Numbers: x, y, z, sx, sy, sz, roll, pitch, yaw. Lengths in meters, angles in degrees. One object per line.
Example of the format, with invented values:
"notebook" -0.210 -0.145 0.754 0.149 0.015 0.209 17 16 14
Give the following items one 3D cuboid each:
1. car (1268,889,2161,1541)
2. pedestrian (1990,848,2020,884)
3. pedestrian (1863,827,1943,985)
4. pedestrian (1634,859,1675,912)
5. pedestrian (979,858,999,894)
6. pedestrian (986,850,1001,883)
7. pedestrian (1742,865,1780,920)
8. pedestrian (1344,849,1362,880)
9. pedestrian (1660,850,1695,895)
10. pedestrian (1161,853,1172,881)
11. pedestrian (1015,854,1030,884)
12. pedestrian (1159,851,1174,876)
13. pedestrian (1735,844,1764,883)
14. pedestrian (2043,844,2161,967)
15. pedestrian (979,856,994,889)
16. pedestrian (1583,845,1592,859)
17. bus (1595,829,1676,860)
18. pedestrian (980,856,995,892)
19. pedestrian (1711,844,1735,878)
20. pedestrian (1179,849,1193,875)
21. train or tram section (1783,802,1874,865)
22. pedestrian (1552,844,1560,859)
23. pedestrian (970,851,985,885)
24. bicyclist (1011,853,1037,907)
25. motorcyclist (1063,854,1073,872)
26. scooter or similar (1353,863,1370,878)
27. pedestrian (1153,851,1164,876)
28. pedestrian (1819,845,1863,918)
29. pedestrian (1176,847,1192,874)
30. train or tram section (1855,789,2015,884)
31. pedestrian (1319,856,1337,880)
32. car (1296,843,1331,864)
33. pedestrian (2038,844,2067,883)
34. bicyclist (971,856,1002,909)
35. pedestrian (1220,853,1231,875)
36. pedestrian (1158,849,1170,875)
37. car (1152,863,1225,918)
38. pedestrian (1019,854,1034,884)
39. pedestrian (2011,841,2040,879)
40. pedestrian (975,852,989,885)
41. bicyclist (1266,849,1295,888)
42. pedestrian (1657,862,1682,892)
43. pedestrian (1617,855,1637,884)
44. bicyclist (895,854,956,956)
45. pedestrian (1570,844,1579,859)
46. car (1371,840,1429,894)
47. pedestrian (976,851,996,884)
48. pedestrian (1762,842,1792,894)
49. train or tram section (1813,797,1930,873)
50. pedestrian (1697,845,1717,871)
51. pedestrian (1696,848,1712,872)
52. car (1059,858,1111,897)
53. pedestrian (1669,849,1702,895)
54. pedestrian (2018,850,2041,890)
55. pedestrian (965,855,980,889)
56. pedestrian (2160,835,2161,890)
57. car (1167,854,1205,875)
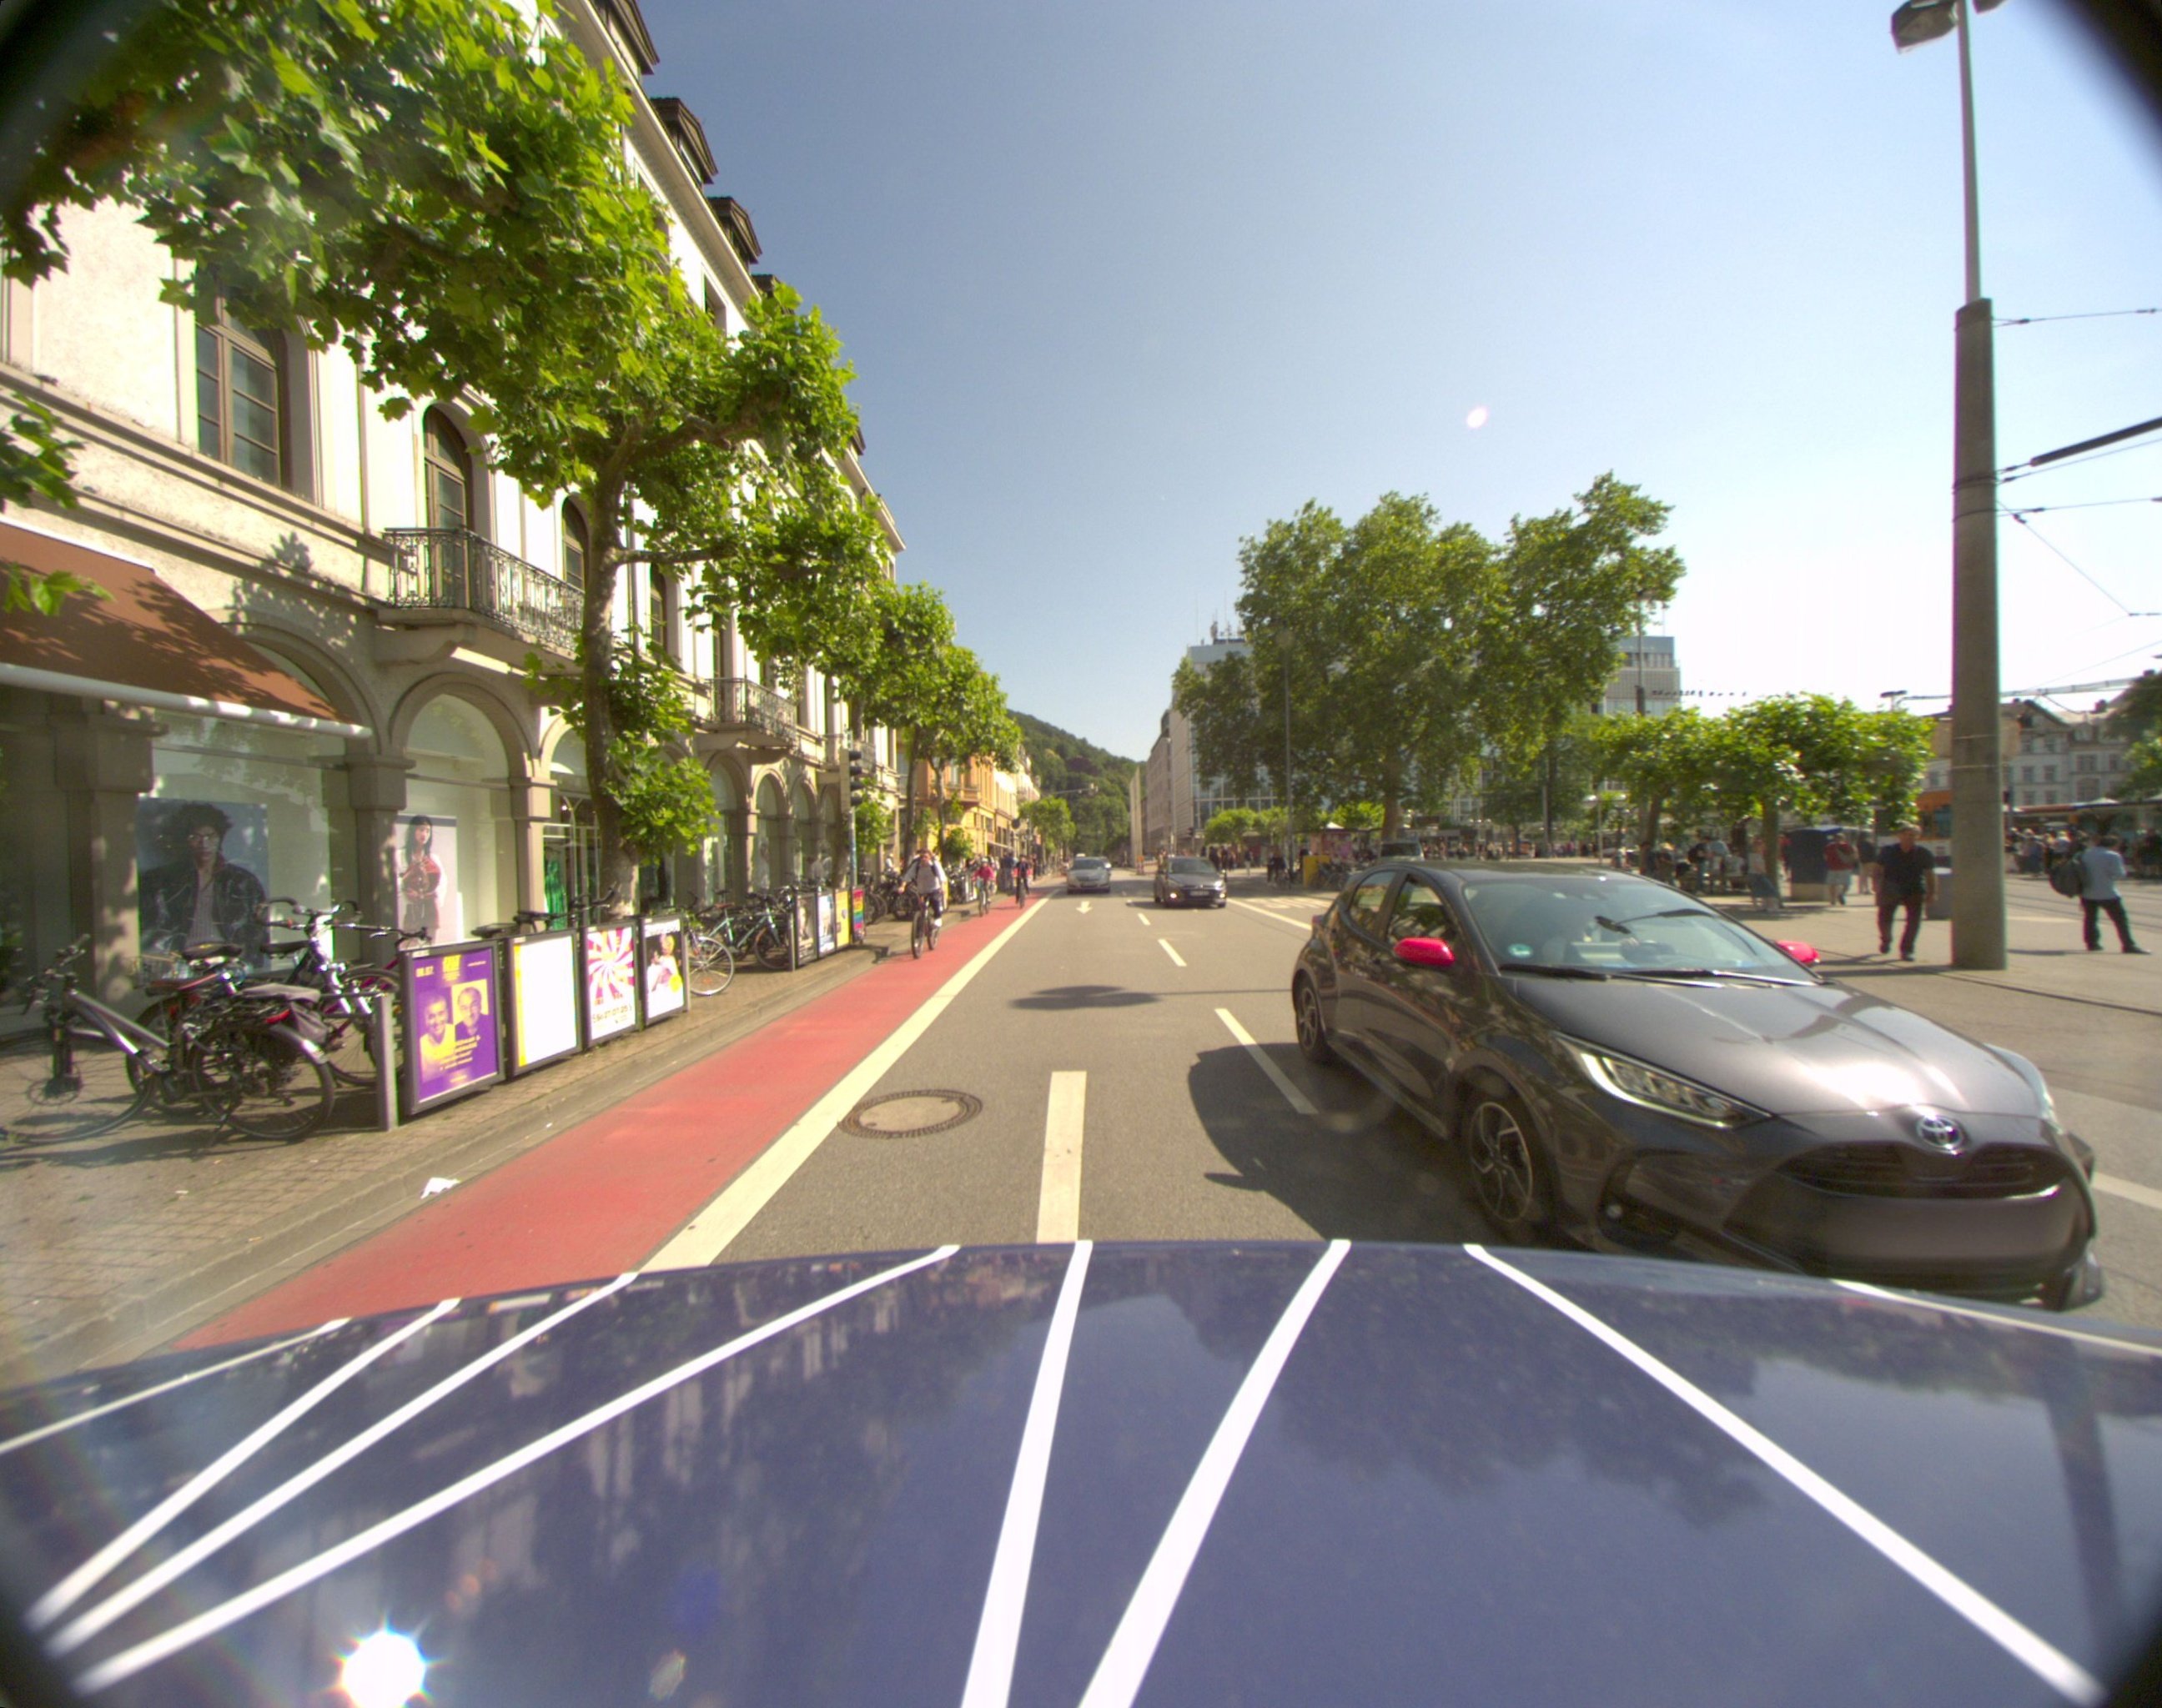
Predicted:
"car" 2.410 1.016 3.960 1.782 1.466 3.999 0 0 -2
"pedestrian" 39.418 0.507 32.409 0.577 1.540 0.682 1 0 27
"pedestrian" 10.987 0.662 10.168 0.897 1.996 0.678 1 0 -43
"pedestrian" 16.199 0.870 21.462 0.624 1.457 0.680 1 0 1
"pedestrian" -4.328 1.025 35.628 0.620 1.675 0.579 -2 1 34
"pedestrian" -4.994 0.703 43.373 0.686 1.847 0.622 -3 1 -3
"pedestrian" 15.556 0.874 17.401 0.577 1.226 0.555 0 1 35
"pedestrian" 13.136 0.521 36.651 0.579 1.452 0.787 -3 1 34
"pedestrian" 19.827 0.603 25.251 0.727 1.457 0.682 1 0 21
"pedestrian" 5.411 0.831 48.069 0.575 1.704 0.652 -3 1 -1
"pedestrian" -3.474 0.882 44.989 0.606 1.726 0.647 -3 2 -22
"pedestrian" 6.112 0.683 54.157 0.876 1.737 0.733 -3 1 -1
"pedestrian" 26.932 0.387 30.634 0.573 1.540 0.657 1 0 3
"pedestrian" 14.257 0.691 10.605 0.895 1.649 0.680 -1 0 -9
"pedestrian" -4.690 0.901 37.654 0.578 1.574 0.622 -3 1 -2
"pedestrian" 56.531 -0.221 84.749 0.756 1.464 0.556 -3 1 28
"bus" 59.181 -1.058 80.905 12.202 2.774 2.385 -3 0 -31
"pedestrian" -4.529 0.973 36.822 0.578 1.675 0.775 -3 1 -2
"pedestrian" 29.716 0.331 35.195 0.679 1.540 0.579 1 0 21
"pedestrian" 7.299 0.569 52.795 0.751 1.737 0.733 -3 1 -9
"train or tram section" 50.143 -1.374 51.276 2.615 3.805 9.536 -3 0 34
"pedestrian" 46.856 -0.279 74.930 0.554 1.464 0.759 -2 1 37
"pedestrian" -5.294 0.698 38.904 0.578 1.714 0.622 -3 1 -2
"bicyclist" -1.724 0.779 23.193 0.690 1.567 0.778 -3 1 -2
"motorcyclist" -1.128 0.728 63.831 0.736 1.445 0.707 -3 1 1
"scooter or similar" 13.179 0.762 35.715 0.579 0.643 0.787 -3 0 34
"pedestrian" 5.442 0.672 53.457 0.639 1.737 0.733 -3 1 -1
"pedestrian" 18.606 0.658 18.608 0.623 1.735 0.682 1 0 35
"pedestrian" 6.779 0.419 49.880 0.722 1.737 0.884 -3 1 -9
"train or tram section" 39.391 -0.809 35.467 2.615 3.805 9.536 -3 0 34
"pedestrian" 13.309 0.736 40.953 0.671 1.234 0.615 -3 1 -4
"car" 24.616 -0.031 80.639 1.999 2.002 3.998 -3 0 -6
"pedestrian" 39.609 0.388 30.977 0.681 1.540 0.577 2 0 -26
"bicyclist" -2.538 0.753 20.483 0.690 1.388 0.778 -3 1 0
"pedestrian" 11.325 0.805 59.491 0.732 1.660 0.640 -3 1 14
"pedestrian" 5.568 0.526 51.023 0.639 1.737 0.733 -3 1 -1
"car" 3.090 1.006 22.489 1.699 1.396 4.000 0 0 2
"pedestrian" -3.131 0.873 43.704 0.579 1.675 0.726 -3 1 -22
"pedestrian" 38.760 0.247 31.185 0.681 1.540 0.577 2 0 -26
"pedestrian" -5.479 0.783 42.094 0.578 1.792 0.697 -3 1 -2
"bicyclist" 7.928 0.566 30.244 0.831 1.489 1.161 -3 0 3
"pedestrian" 23.914 0.931 30.876 0.578 1.226 0.553 1 0 -11
"pedestrian" 24.093 0.681 33.533 0.497 1.246 0.484 -3 1 -1
"bicyclist" -2.512 0.800 12.368 0.750 1.567 0.778 -3 1 0
"pedestrian" 52.458 -0.276 80.779 0.756 1.464 0.556 -3 1 28
"car" 13.251 0.460 31.739 1.996 2.002 5.074 -3 0 22
"pedestrian" -5.533 0.782 44.226 0.621 1.834 0.857 -2 1 39
"pedestrian" 25.105 0.497 27.418 0.577 1.830 0.682 1 0 21
"train or tram section" 44.776 -1.092 43.368 2.615 3.805 9.536 -3 0 34
"pedestrian" 36.658 0.226 44.514 0.554 1.464 0.758 -3 1 8
"pedestrian" 37.852 0.352 46.175 0.554 1.464 0.456 -3 1 8
"car" 0.206 0.908 31.439 1.918 1.401 4.000 -3 0 2
"pedestrian" 19.588 0.586 24.626 0.623 1.457 0.682 1 0 21
"pedestrian" 37.148 0.619 29.745 0.477 1.540 0.451 1 0 -26
"pedestrian" -5.343 0.886 37.518 0.578 1.675 0.622 -3 1 -2
"pedestrian" 35.095 0.275 24.215 0.626 1.784 0.679 1 0 -22
"car" 11.164 1.138 80.565 1.995 2.002 4.008 -3 0 41
